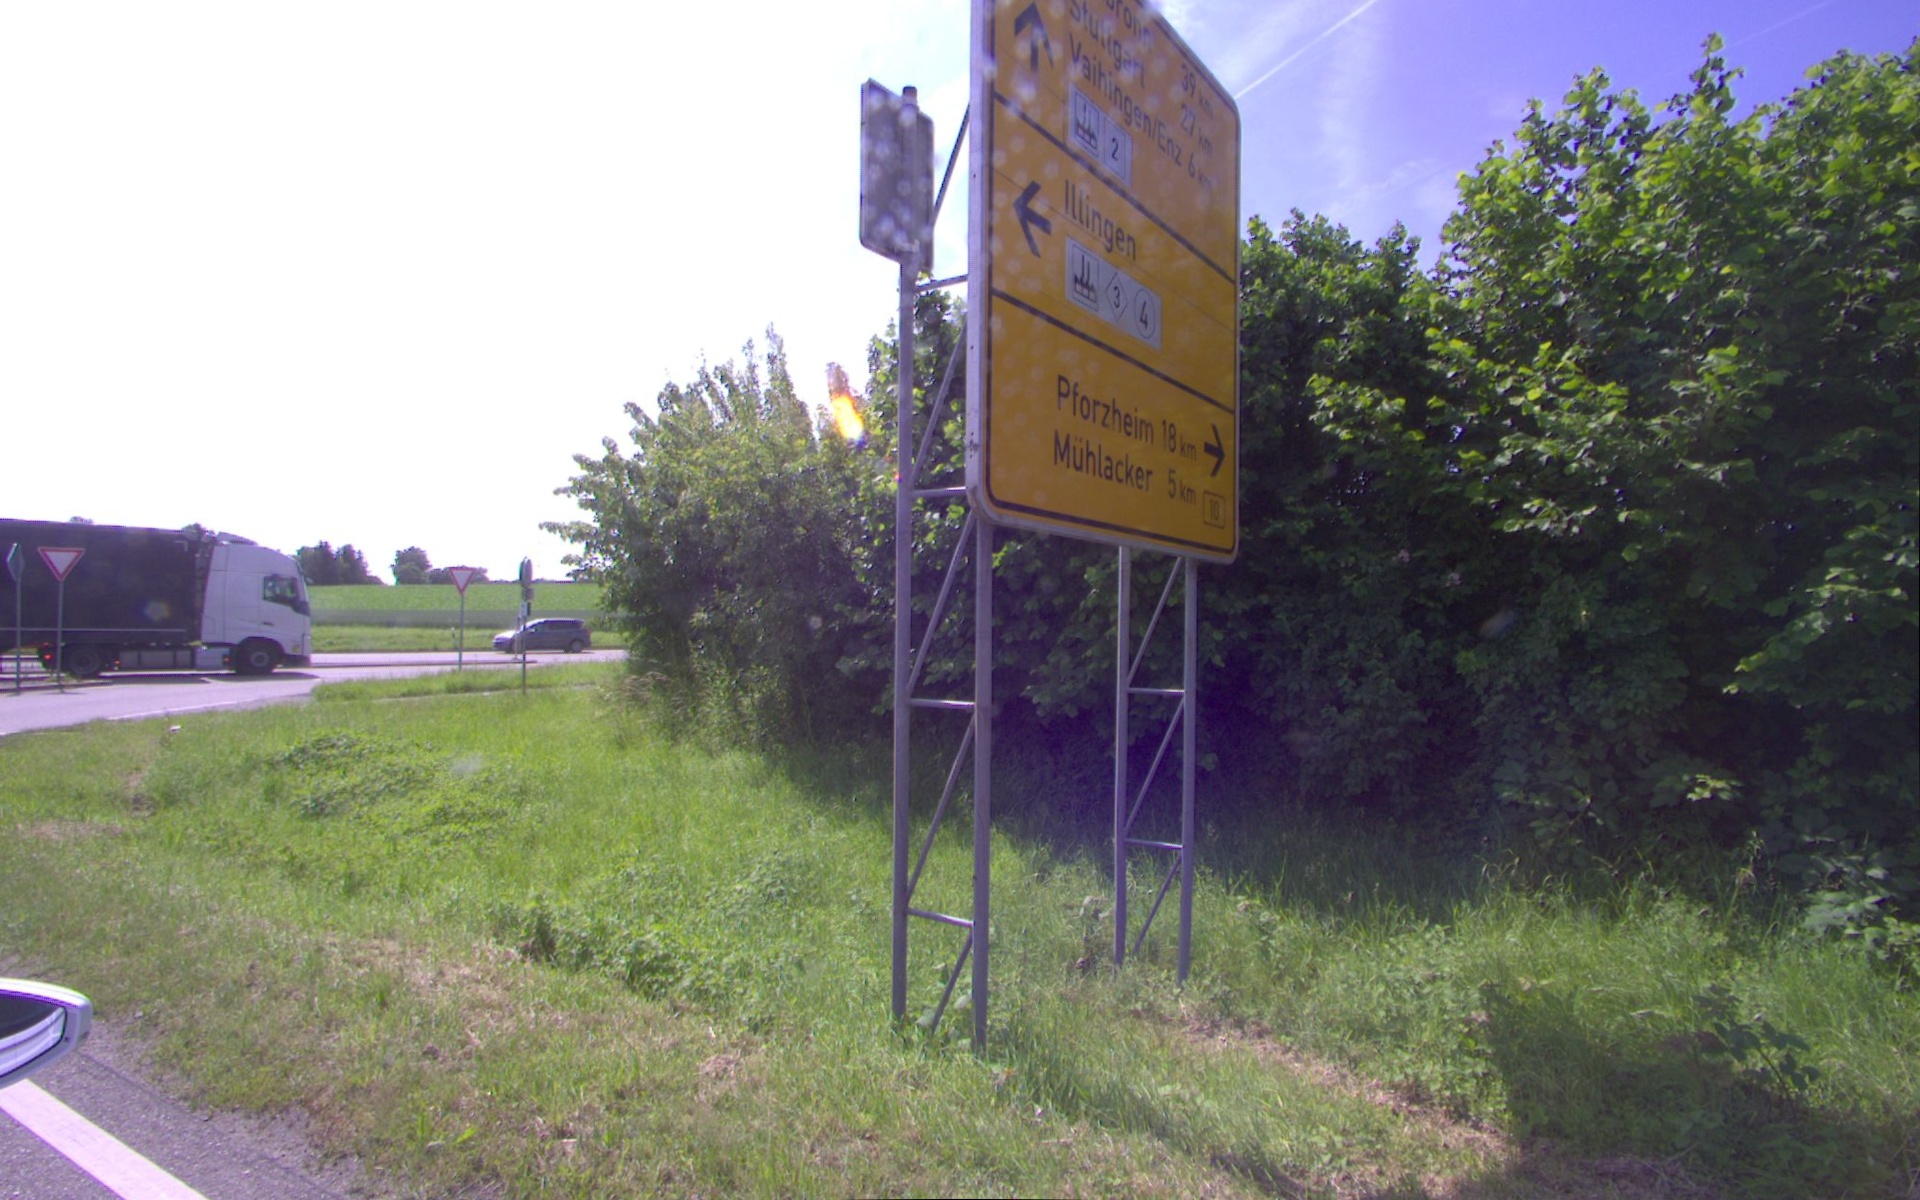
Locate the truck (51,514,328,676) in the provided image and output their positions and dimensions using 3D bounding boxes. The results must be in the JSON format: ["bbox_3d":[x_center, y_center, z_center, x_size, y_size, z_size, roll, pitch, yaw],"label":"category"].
[{"bbox_3d":[-21.781,-0.054,28.532,2.766,4.114,5.799,1,-1,41],"label":"truck"}]

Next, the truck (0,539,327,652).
[{"bbox_3d":[-32.967,-0.073,38.680,14.159,4.031,3.005,2,-1,-37],"label":"truck"}]

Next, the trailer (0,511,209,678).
[{"bbox_3d":[-26.437,-0.213,23.681,13.602,4.114,2.770,2,-1,-45],"label":"trailer"}]

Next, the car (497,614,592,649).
[{"bbox_3d":[-20.227,1.552,48.804,3.953,1.616,1.653,3,-3,-37],"label":"car"}]
